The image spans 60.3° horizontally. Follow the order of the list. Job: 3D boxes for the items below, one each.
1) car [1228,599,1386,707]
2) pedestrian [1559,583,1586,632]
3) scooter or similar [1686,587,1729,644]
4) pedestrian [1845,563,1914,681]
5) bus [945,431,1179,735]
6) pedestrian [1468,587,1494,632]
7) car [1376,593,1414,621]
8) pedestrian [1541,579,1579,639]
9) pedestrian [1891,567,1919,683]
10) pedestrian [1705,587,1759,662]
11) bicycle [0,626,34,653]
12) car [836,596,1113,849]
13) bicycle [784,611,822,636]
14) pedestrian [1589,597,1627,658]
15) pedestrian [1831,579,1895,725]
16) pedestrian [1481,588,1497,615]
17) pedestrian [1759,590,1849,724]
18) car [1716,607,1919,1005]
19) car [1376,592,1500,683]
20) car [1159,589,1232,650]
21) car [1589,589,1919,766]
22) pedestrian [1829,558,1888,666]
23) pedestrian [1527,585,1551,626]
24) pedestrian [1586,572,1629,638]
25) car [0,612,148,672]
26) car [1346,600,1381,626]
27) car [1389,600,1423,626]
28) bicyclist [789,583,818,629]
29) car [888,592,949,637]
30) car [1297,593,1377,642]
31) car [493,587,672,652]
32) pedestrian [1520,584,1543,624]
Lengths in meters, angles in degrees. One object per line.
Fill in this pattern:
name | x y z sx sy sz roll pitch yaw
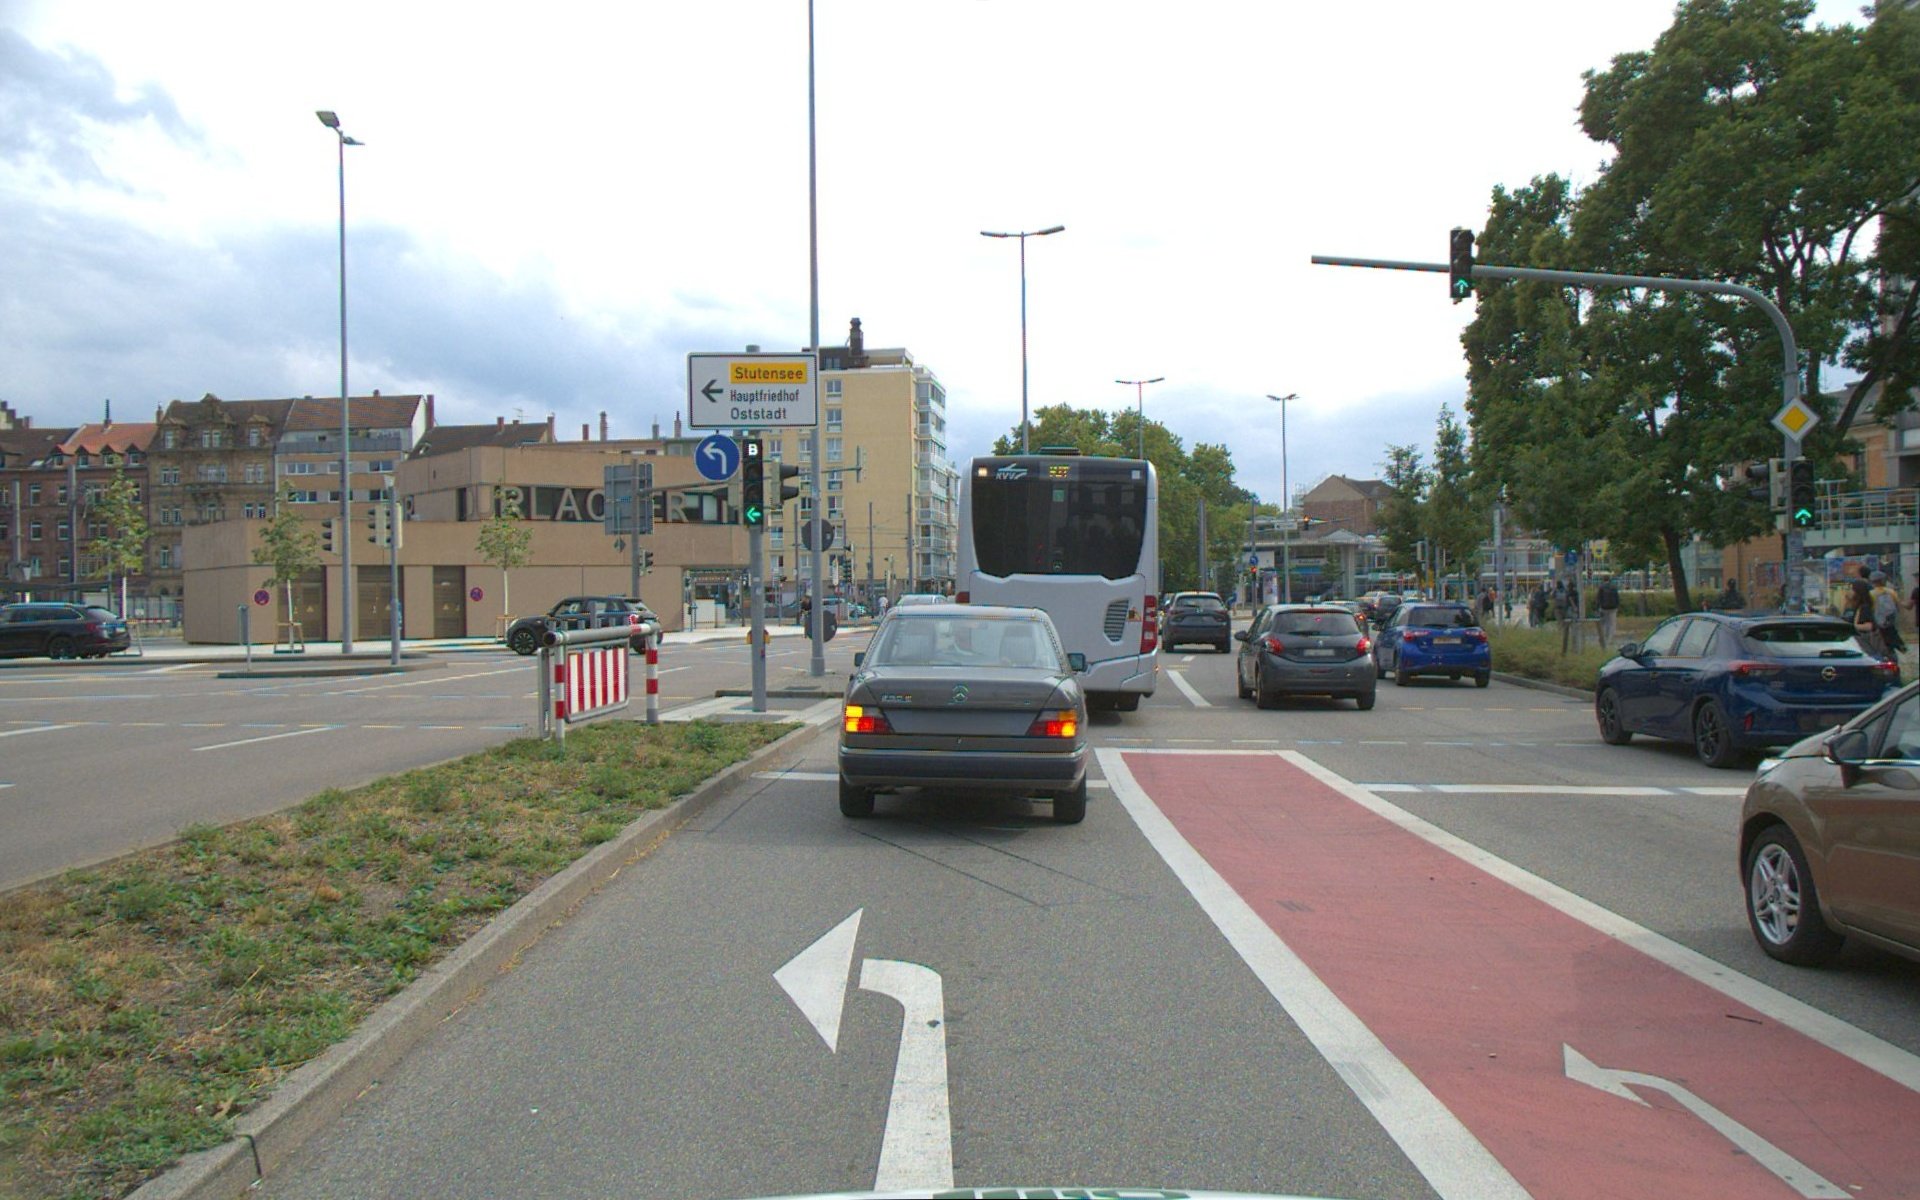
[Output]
car | 5.063 0.741 24.575 1.675 1.445 4.001 1 0 3
pedestrian | 20.661 0.243 55.793 0.762 1.601 0.812 -2 -1 24
scooter or similar | 18.649 0.392 41.287 0.390 1.394 1.145 1 -1 -11
pedestrian | 13.993 0.332 25.186 0.625 1.741 0.708 -2 -1 2
bus | 1.710 -0.179 26.660 2.648 3.498 14.191 -2 0 4
pedestrian | 19.125 0.344 60.738 0.762 1.601 0.812 -2 -1 24
car | 22.806 0.373 86.607 1.668 1.445 3.702 1 0 18
pedestrian | 17.945 0.272 49.469 0.762 1.741 1.028 1 -1 2
pedestrian | 14.686 0.376 25.184 0.625 1.741 0.708 1 -1 2
pedestrian | 16.908 0.527 36.243 0.762 1.601 0.812 -2 -1 2
bicycle | -36.128 1.487 62.476 1.950 0.987 0.575 1 -1 -43
car | 0.033 0.755 12.240 1.661 1.506 4.414 1 0 -2
bicycle | -5.825 0.880 61.458 0.844 0.892 2.521 1 0 8
pedestrian | 18.611 0.790 47.512 0.762 1.741 0.812 1 -1 2
pedestrian | 10.942 0.620 20.055 0.469 1.741 0.588 1 -1 4
pedestrian | 31.687 0.074 99.046 0.762 1.601 0.812 -2 -1 24
pedestrian | 11.260 0.752 22.089 0.780 1.741 0.840 1 -1 4
car | 4.295 0.751 5.638 1.661 1.429 3.699 1 0 -2
car | 8.948 0.676 31.239 1.818 1.559 4.005 1 0 10
car | 6.598 0.543 46.623 1.796 1.643 3.548 1 0 5
car | 7.725 0.697 16.419 1.631 1.534 3.635 1 0 1
pedestrian | 15.966 0.211 29.412 0.625 1.885 0.708 -1 -1 2
pedestrian | 23.317 0.215 66.597 0.762 1.601 0.812 -2 -1 24
pedestrian | 17.385 0.132 44.440 0.762 1.741 1.028 1 -1 2
car | -22.730 1.016 40.982 4.175 1.385 1.999 1 0 -3
car | 23.437 0.774 96.024 1.675 1.445 4.001 1 0 18
car | 25.261 0.741 93.562 1.668 1.445 3.702 1 0 18
bicyclist | -5.807 0.215 61.338 0.848 1.698 0.881 1 -1 8
car | -1.590 0.558 64.857 1.952 1.680 4.292 1 0 4
car | 11.695 0.538 51.150 2.087 1.445 3.702 1 0 18
car | -9.474 0.478 41.567 3.905 1.512 2.000 1 0 21
pedestrian | 23.611 0.174 68.318 0.762 1.601 0.812 -2 -1 24
